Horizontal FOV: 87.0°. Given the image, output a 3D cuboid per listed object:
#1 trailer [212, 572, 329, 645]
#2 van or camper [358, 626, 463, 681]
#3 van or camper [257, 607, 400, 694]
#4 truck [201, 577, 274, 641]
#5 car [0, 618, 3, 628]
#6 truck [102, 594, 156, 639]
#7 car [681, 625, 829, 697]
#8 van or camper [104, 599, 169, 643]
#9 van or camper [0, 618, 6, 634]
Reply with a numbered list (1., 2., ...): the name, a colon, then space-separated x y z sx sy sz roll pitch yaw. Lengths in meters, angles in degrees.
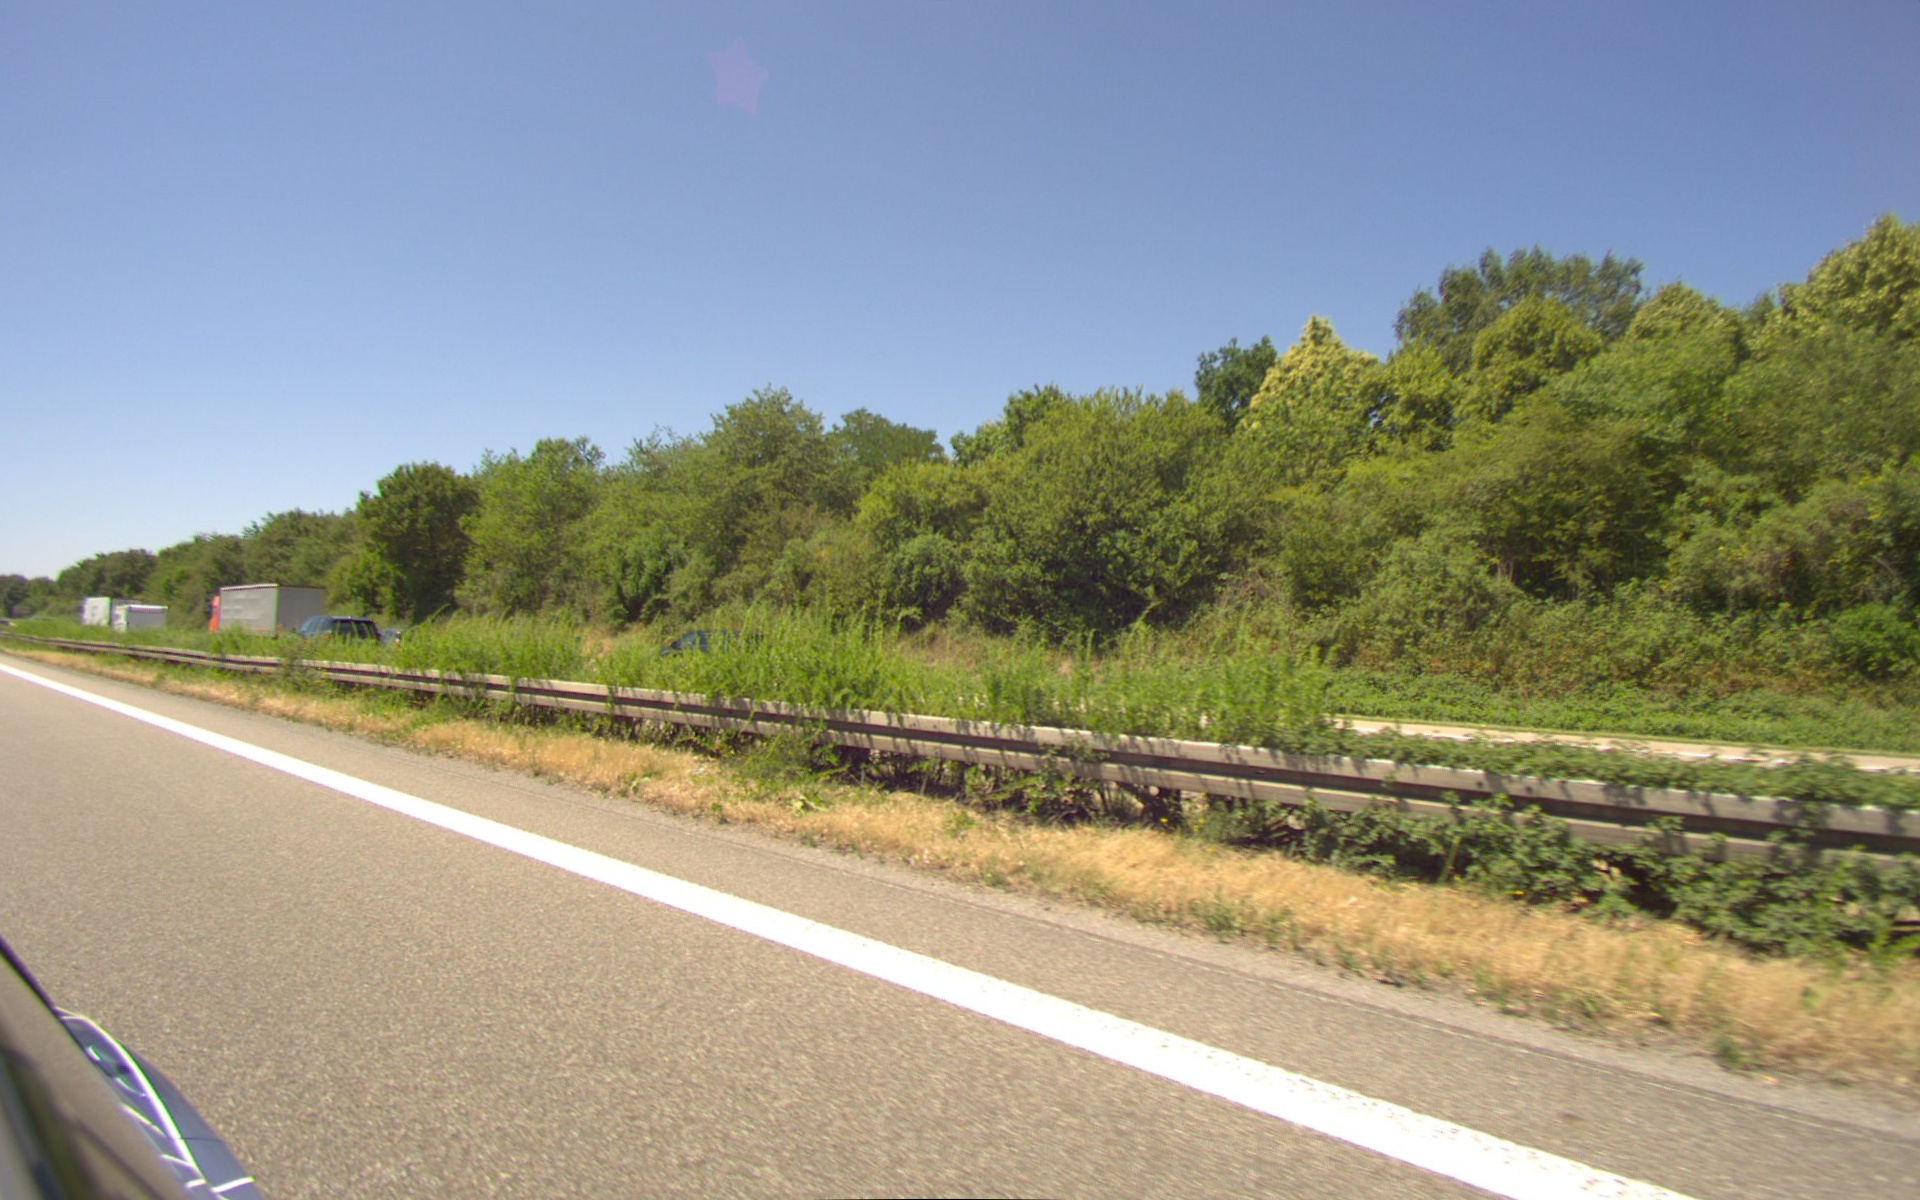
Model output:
1. trailer: -44.758 0.557 65.371 14.479 4.280 3.110 -1 0 43
2. van or camper: -21.836 2.051 40.110 5.246 2.029 1.972 -1 -3 42
3. van or camper: -21.148 1.617 33.750 6.454 2.646 2.100 -1 -2 40
4. truck: -50.485 0.613 70.709 5.175 4.263 3.103 -1 0 42
5. car: -181.261 4.324 189.892 4.301 1.929 1.973 -1 -2 41
6. truck: -81.305 1.586 98.974 5.942 4.180 3.160 -1 0 42
7. car: -5.640 1.579 27.618 4.000 1.730 1.972 -1 0 43
8. van or camper: -59.508 1.461 73.079 7.859 2.989 2.584 -1 0 43
9. van or camper: -105.369 2.830 110.113 5.058 1.764 1.972 -1 -2 43
